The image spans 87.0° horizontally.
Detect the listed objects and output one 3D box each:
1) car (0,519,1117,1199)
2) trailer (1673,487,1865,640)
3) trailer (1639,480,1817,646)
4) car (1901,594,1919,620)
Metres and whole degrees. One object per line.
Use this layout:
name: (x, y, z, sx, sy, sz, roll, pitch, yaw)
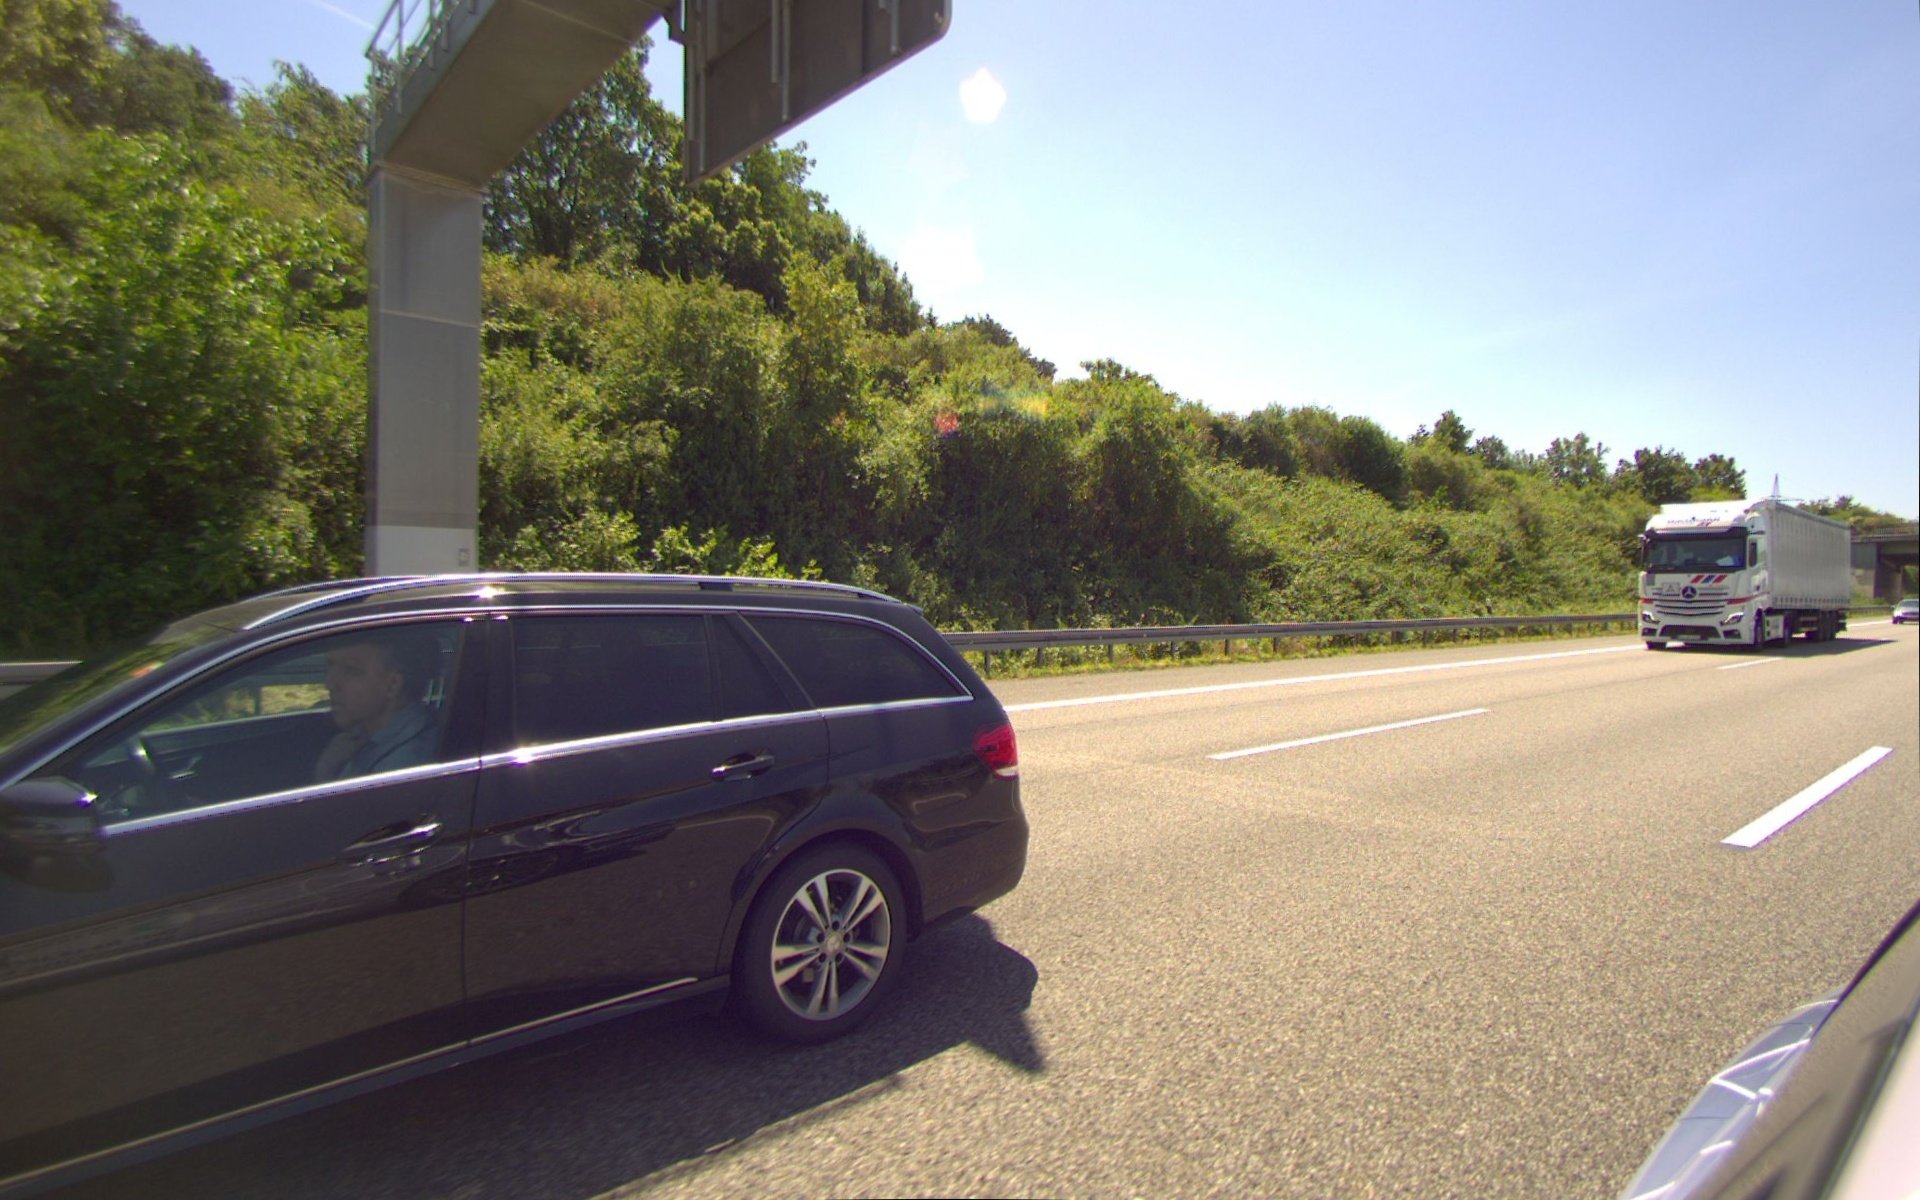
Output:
car: (-1.732, 0.604, 3.248, 4.654, 1.524, 1.845, 1, 0, -41)
trailer: (26.559, -1.039, 32.835, 12.961, 4.154, 2.733, 0, 1, -42)
trailer: (21.696, -0.963, 28.448, 6.672, 4.154, 2.717, 0, 1, -42)
car: (54.515, 0.380, 56.998, 4.480, 1.430, 1.838, 0, 0, -42)
